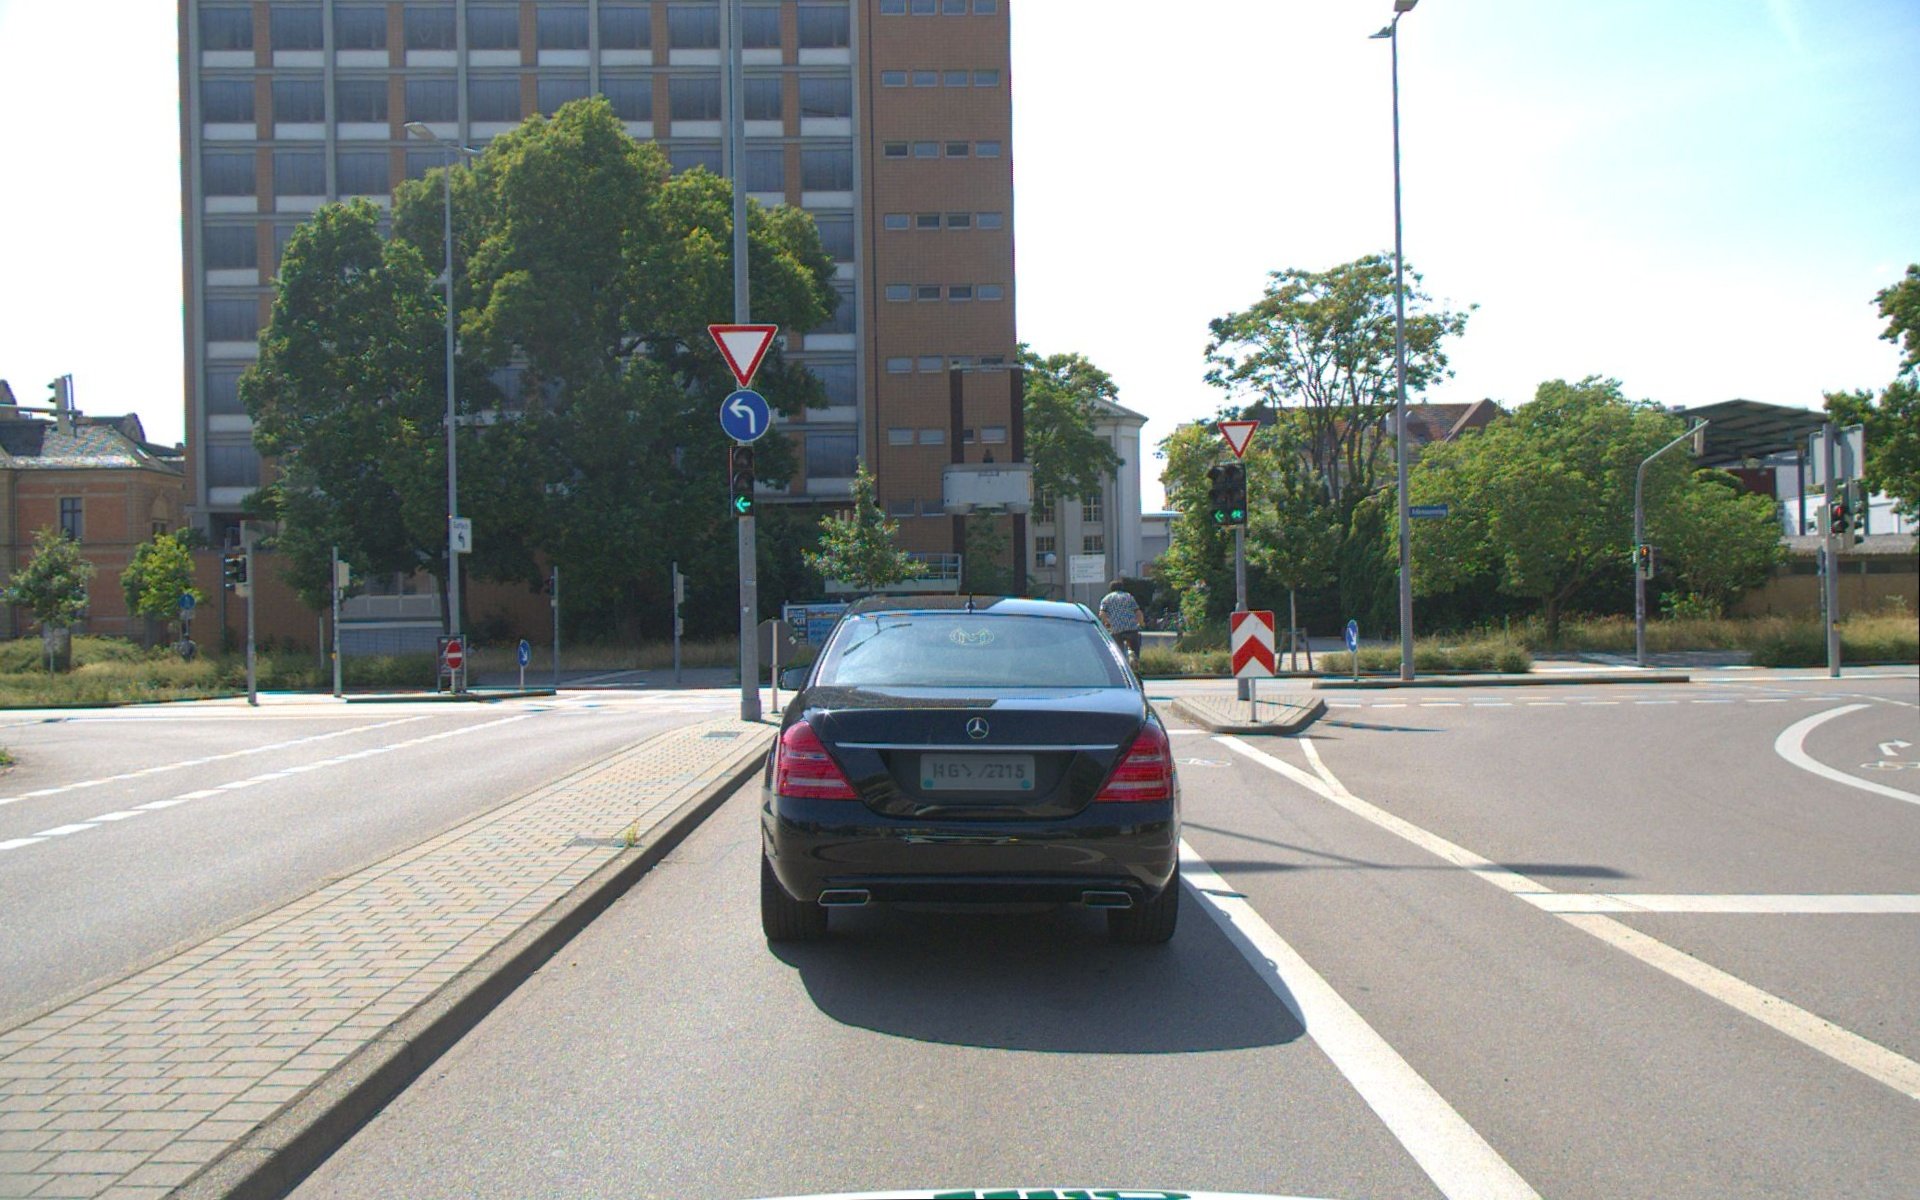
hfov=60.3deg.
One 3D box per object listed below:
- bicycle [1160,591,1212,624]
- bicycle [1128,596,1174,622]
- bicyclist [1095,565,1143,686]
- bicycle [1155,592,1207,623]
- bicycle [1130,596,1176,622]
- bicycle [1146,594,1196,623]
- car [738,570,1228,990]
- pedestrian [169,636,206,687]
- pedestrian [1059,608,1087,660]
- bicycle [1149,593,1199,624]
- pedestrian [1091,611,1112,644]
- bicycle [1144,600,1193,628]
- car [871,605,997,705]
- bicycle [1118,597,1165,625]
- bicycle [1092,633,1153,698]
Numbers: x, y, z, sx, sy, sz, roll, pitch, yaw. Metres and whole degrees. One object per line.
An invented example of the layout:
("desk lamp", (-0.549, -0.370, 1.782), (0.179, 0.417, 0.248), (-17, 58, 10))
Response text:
("bicycle", (12.633, 0.425, 92.507), (2.766, 1.775, 0.841), (-2, 0, -2))
("bicycle", (12.043, 0.563, 104.323), (2.765, 1.506, 0.841), (-2, 0, 0))
("bicyclist", (2.567, 0.410, 26.702), (0.672, 1.911, 0.859), (0, -1, -1))
("bicycle", (12.494, 0.411, 93.606), (2.766, 1.678, 0.841), (-2, 0, -2))
("bicycle", (12.053, 0.570, 103.260), (2.766, 1.526, 0.841), (-2, 0, -2))
("bicycle", (12.258, 0.478, 96.125), (2.766, 1.615, 0.841), (-2, 0, -2))
("car", (0.013, 0.694, 8.538), (1.821, 1.557, 4.711), (1, -1, -2))
("pedestrian", (-27.629, 2.197, 59.148), (0.781, 1.756, 0.873), (-2, -1, 22))
("pedestrian", (3.542, 1.078, 51.988), (0.794, 1.607, 0.692), (-1, -1, 1))
("bicycle", (12.279, 0.485, 94.938), (2.766, 1.688, 0.841), (-2, 1, -2))
("pedestrian", (5.338, 1.022, 62.423), (0.776, 1.235, 0.758), (1, -1, 6))
("bicycle", (12.214, 0.799, 96.923), (2.766, 1.564, 0.841), (-2, 0, -2))
("car", (-0.431, 0.880, 27.840), (1.953, 1.534, 3.999), (1, -1, -1))
("bicycle", (11.093, 0.680, 101.143), (2.766, 1.586, 0.841), (-2, 0, -2))
("bicycle", (2.575, 1.016, 26.324), (0.678, 0.963, 1.957), (1, -1, -3))
